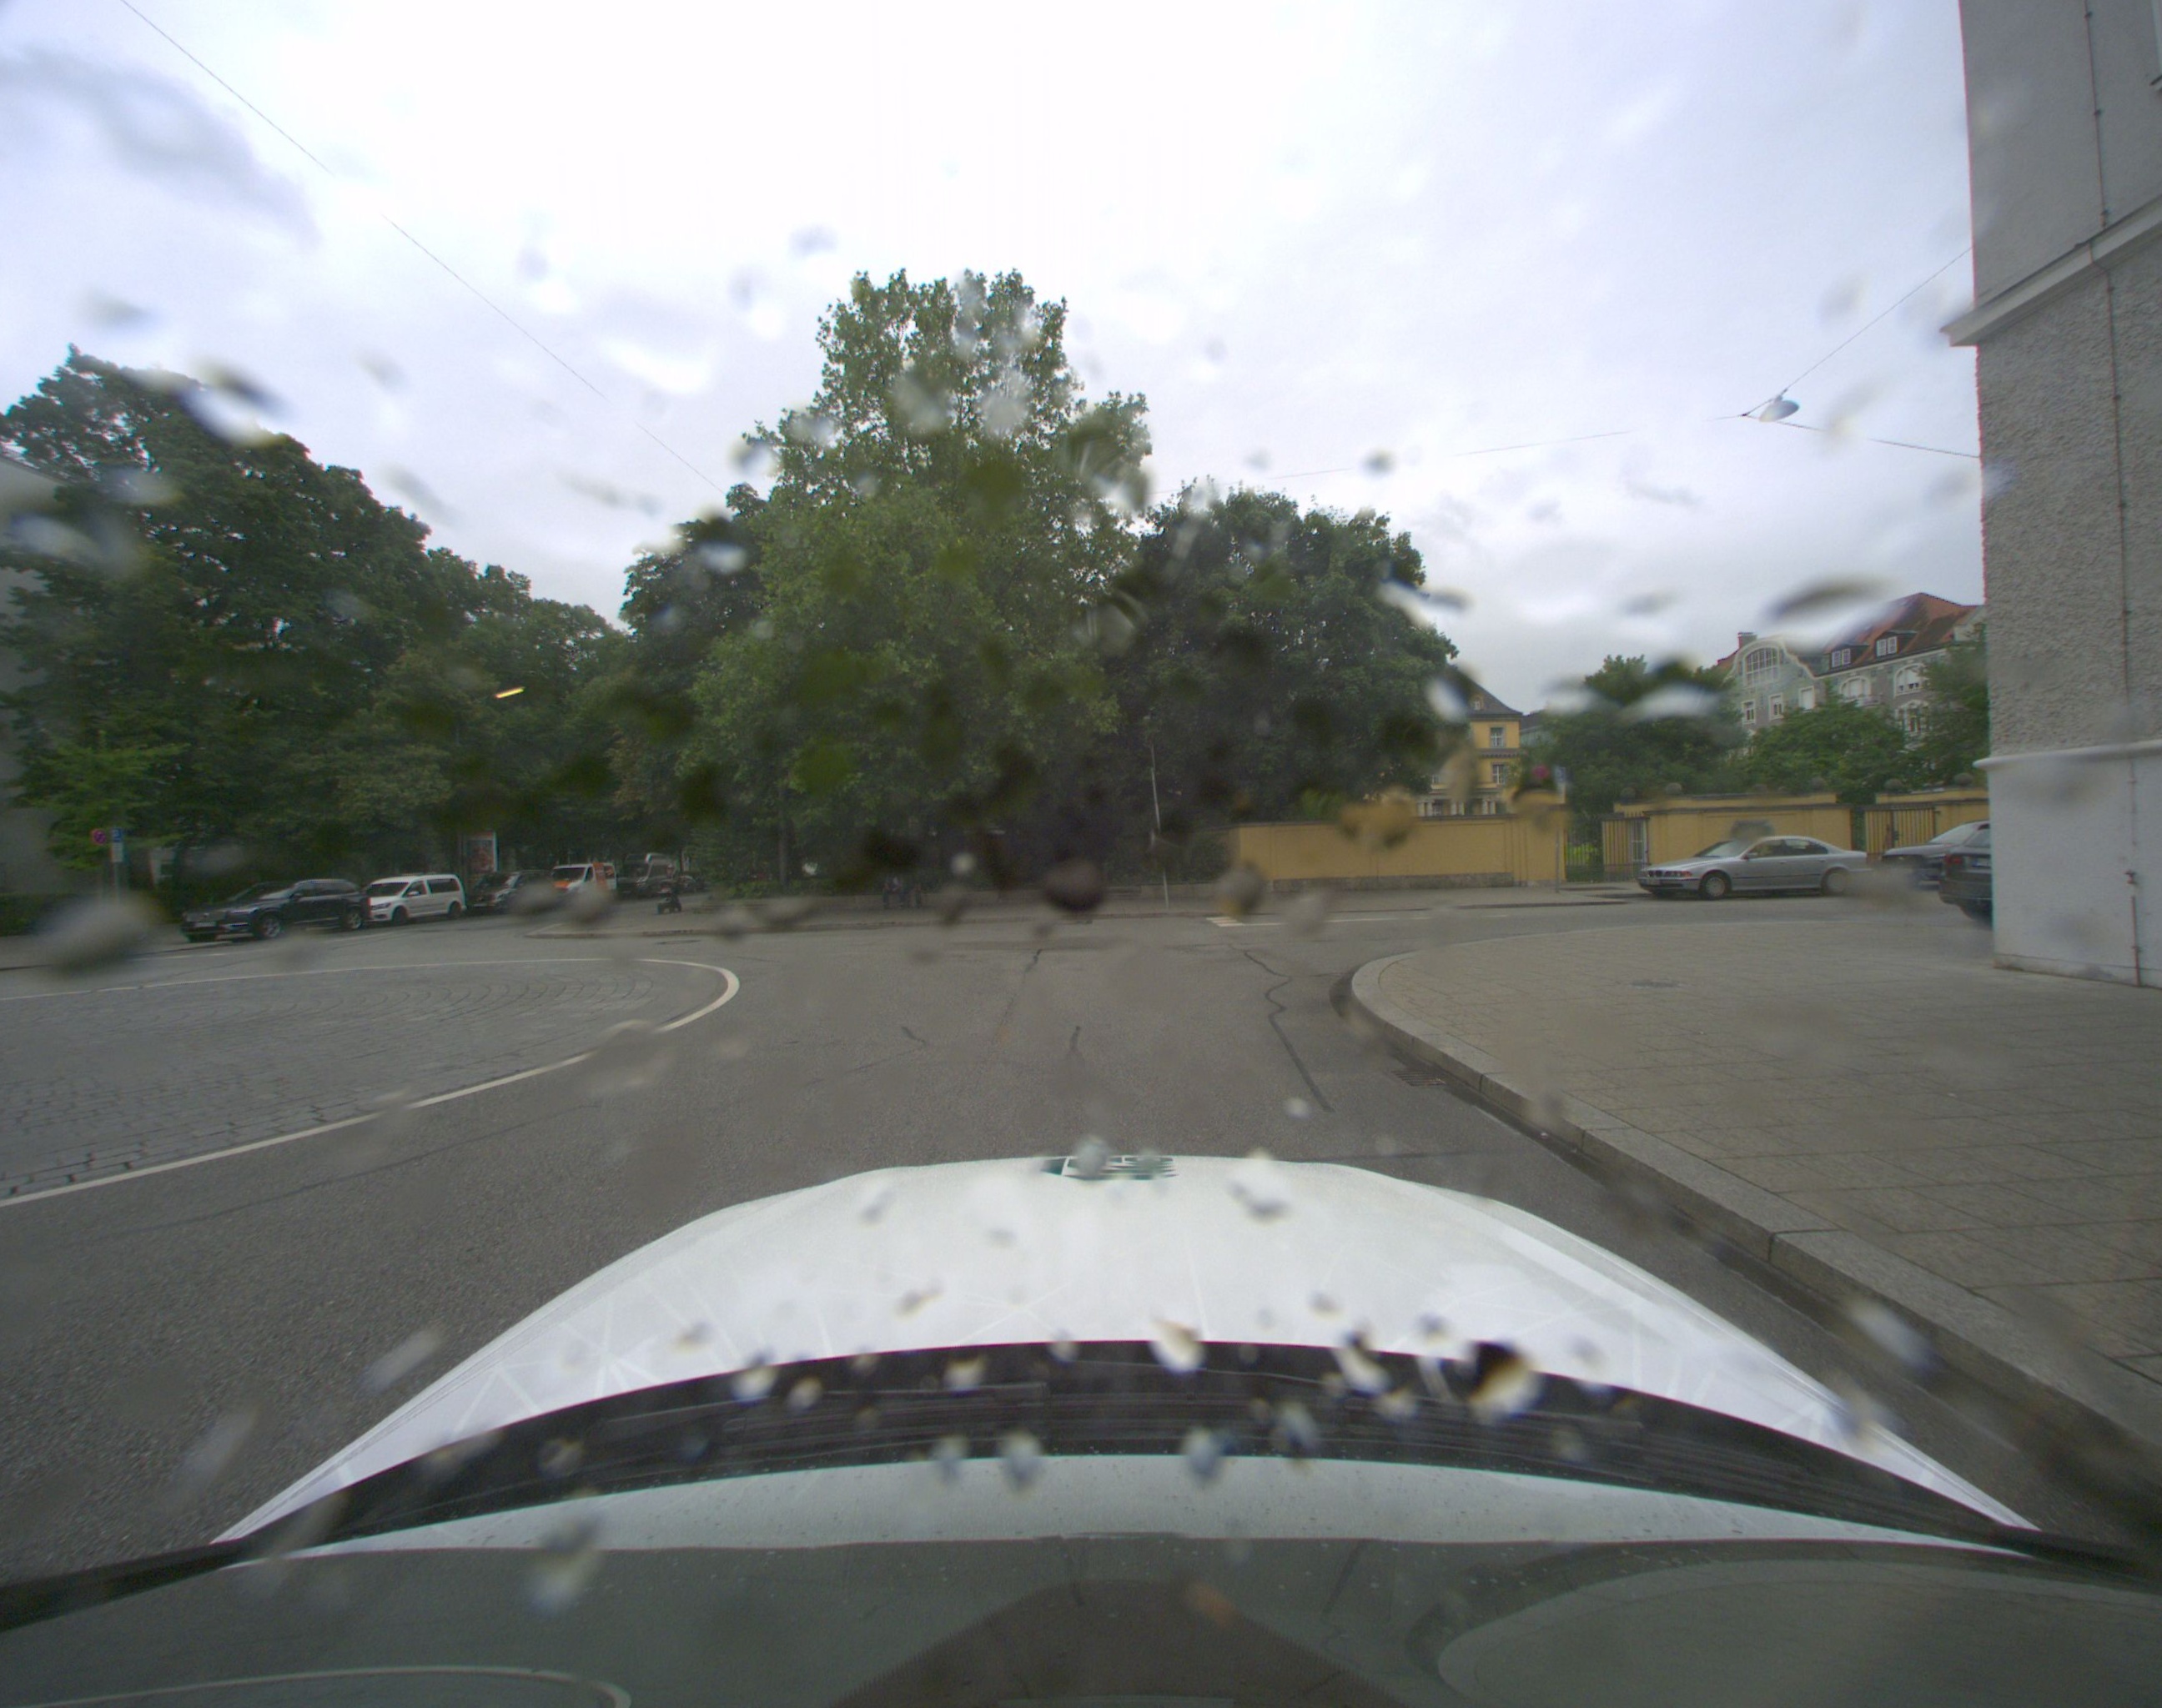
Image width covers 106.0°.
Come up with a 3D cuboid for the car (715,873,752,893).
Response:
[{"bbox_3d":[-30.976,2.559,72.634,1.894,1.571,4.065,-2,0,-7],"label":"car"}]

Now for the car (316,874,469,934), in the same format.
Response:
[{"bbox_3d":[-25.459,1.770,30.389,1.924,1.895,4.856,-2,0,-7],"label":"car"}]

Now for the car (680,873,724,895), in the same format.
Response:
[{"bbox_3d":[-29.797,2.340,64.165,1.894,1.538,4.065,-2,0,-7],"label":"car"}]

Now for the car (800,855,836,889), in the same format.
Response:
[{"bbox_3d":[-21.660,1.457,67.271,2.042,2.558,5.229,-2,0,-11],"label":"car"}]

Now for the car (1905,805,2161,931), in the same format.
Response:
[{"bbox_3d":[15.304,0.132,12.022,4.392,1.616,1.892,-2,1,0],"label":"car"}]

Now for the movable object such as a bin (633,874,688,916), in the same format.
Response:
[{"bbox_3d":[-13.949,1.342,27.045,1.072,1.267,1.089,-5,0,7],"label":"movable object such as a bin"}]

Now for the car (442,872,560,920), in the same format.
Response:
[{"bbox_3d":[-26.155,1.828,36.977,2.062,1.859,4.976,-2,0,-6],"label":"car"}]

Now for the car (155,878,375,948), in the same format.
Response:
[{"bbox_3d":[-24.783,1.699,25.073,2.062,1.767,4.897,-2,0,-6],"label":"car"}]

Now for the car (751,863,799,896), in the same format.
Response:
[{"bbox_3d":[-19.355,1.568,51.709,2.042,1.922,4.428,-2,0,-11],"label":"car"}]

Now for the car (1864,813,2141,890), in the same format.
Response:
[{"bbox_3d":[21.569,-0.067,19.185,4.545,1.530,1.824,-2,0,-2],"label":"car"}]

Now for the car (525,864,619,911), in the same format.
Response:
[{"bbox_3d":[-27.397,1.733,44.077,2.108,2.251,5.184,-2,0,-6],"label":"car"}]

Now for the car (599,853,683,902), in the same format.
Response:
[{"bbox_3d":[-28.650,1.465,53.361,2.332,2.922,6.565,-2,0,-6],"label":"car"}]

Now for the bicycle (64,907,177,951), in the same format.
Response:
[{"bbox_3d":[-27.003,2.086,22.954,0.909,1.051,1.968,-2,-1,-5],"label":"bicycle"}]

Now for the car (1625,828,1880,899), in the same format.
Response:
[{"bbox_3d":[15.730,0.207,19.230,4.545,1.402,1.824,-2,0,-2],"label":"car"}]

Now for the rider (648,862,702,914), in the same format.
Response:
[{"bbox_3d":[-13.863,1.144,27.859,1.076,1.667,1.142,-5,0,7],"label":"rider"}]

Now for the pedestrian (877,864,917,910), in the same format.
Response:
[{"bbox_3d":[-5.086,0.901,22.551,0.808,1.189,0.921,-2,0,5],"label":"pedestrian"}]
